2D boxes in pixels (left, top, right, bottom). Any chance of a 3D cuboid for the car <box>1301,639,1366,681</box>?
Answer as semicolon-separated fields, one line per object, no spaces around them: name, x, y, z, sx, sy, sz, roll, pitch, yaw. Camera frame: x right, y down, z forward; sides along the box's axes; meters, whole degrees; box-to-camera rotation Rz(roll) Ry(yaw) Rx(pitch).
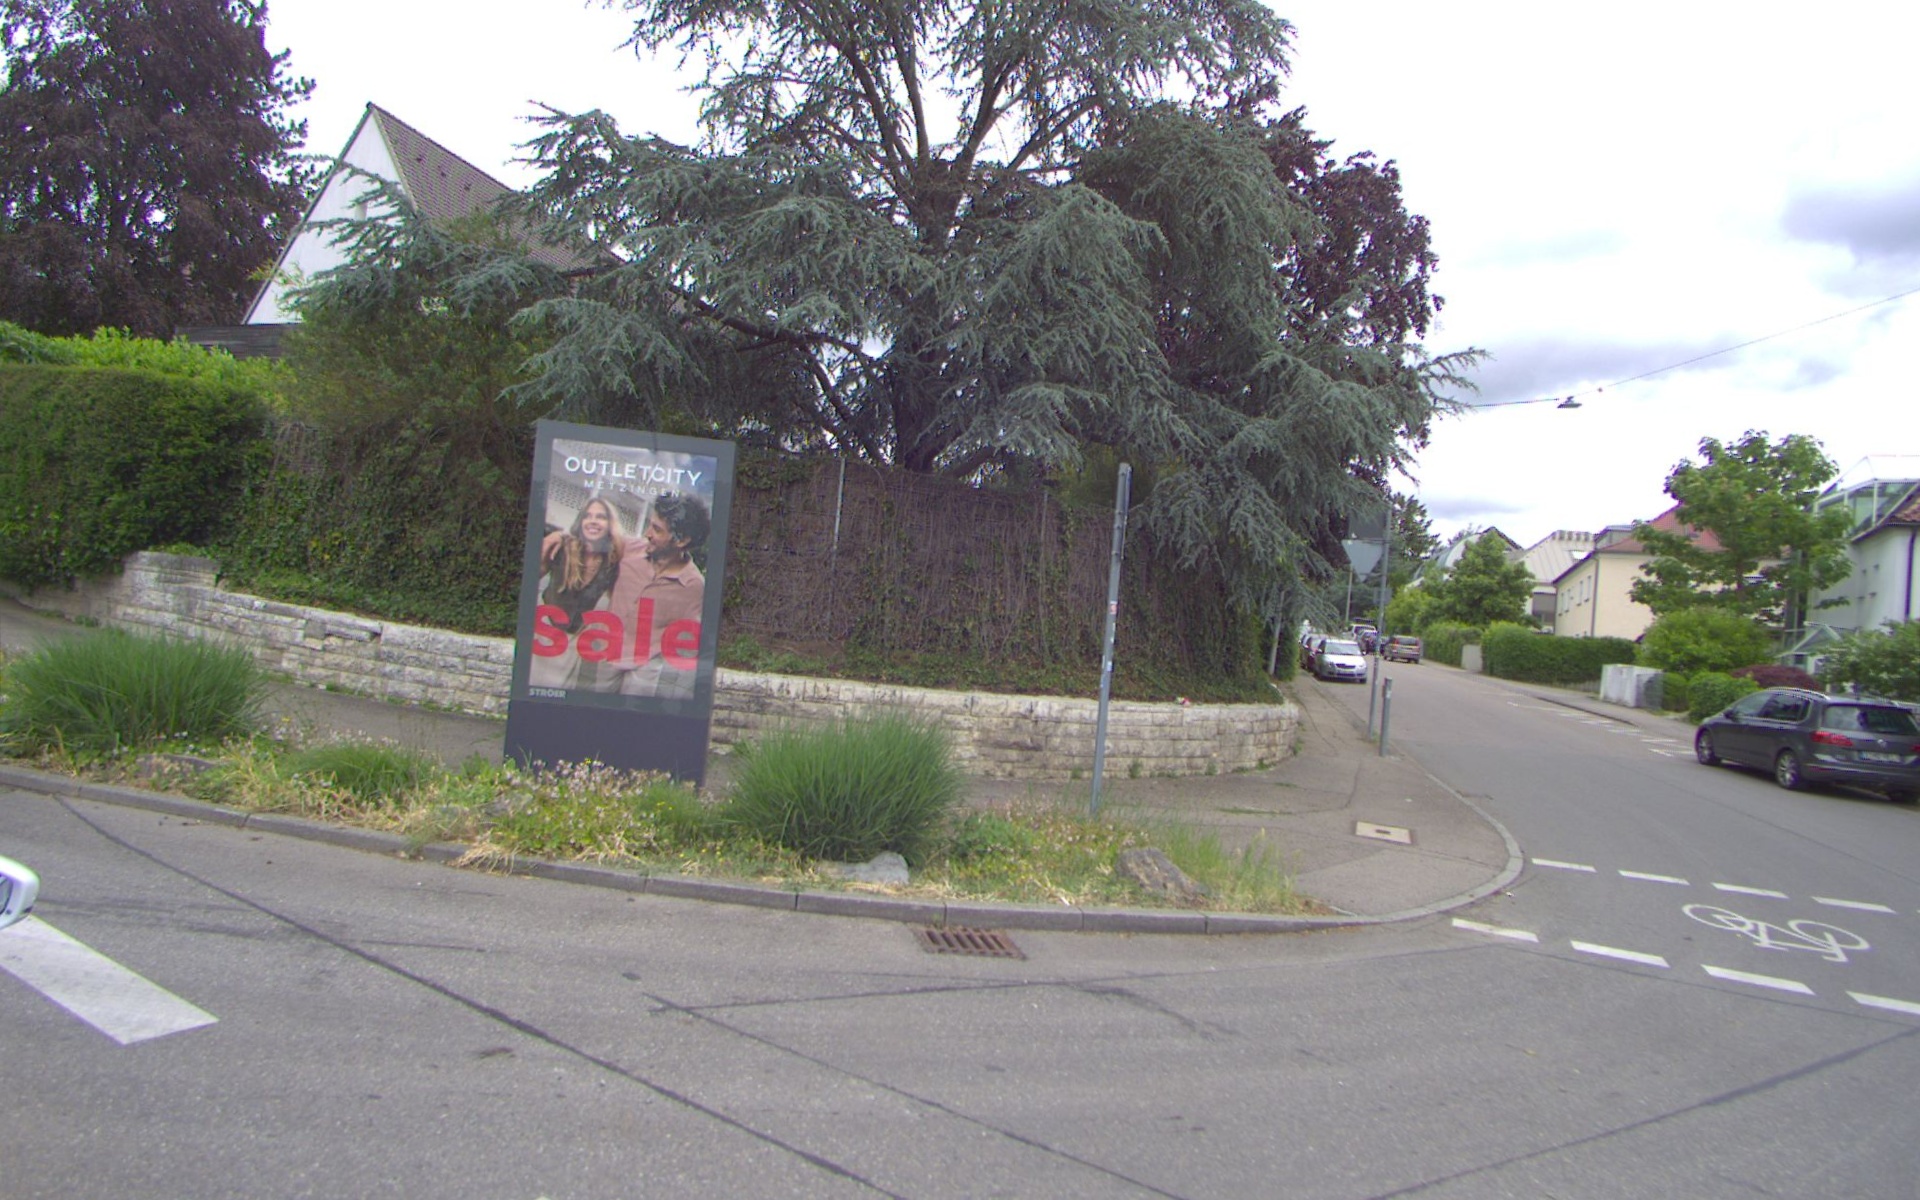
car;15.647;2.473;42.328;1.915;1.460;4.001;6;0;13

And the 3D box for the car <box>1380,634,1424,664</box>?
car;25.778;2.817;58.771;1.583;1.431;3.473;8;1;13

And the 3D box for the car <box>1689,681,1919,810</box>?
car;14.222;2.323;16.866;1.788;1.556;4.001;5;0;15

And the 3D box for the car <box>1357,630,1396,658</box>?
car;28.146;2.928;68.123;1.719;1.660;3.729;6;0;14

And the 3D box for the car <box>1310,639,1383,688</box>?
car;14.338;2.307;37.528;1.915;1.460;4.001;6;0;13

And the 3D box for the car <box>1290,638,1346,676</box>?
car;16.617;2.603;46.837;1.915;1.460;4.001;6;0;13

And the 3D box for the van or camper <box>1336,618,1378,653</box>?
van or camper;31.405;2.787;79.759;2.079;2.435;5.248;6;0;13
